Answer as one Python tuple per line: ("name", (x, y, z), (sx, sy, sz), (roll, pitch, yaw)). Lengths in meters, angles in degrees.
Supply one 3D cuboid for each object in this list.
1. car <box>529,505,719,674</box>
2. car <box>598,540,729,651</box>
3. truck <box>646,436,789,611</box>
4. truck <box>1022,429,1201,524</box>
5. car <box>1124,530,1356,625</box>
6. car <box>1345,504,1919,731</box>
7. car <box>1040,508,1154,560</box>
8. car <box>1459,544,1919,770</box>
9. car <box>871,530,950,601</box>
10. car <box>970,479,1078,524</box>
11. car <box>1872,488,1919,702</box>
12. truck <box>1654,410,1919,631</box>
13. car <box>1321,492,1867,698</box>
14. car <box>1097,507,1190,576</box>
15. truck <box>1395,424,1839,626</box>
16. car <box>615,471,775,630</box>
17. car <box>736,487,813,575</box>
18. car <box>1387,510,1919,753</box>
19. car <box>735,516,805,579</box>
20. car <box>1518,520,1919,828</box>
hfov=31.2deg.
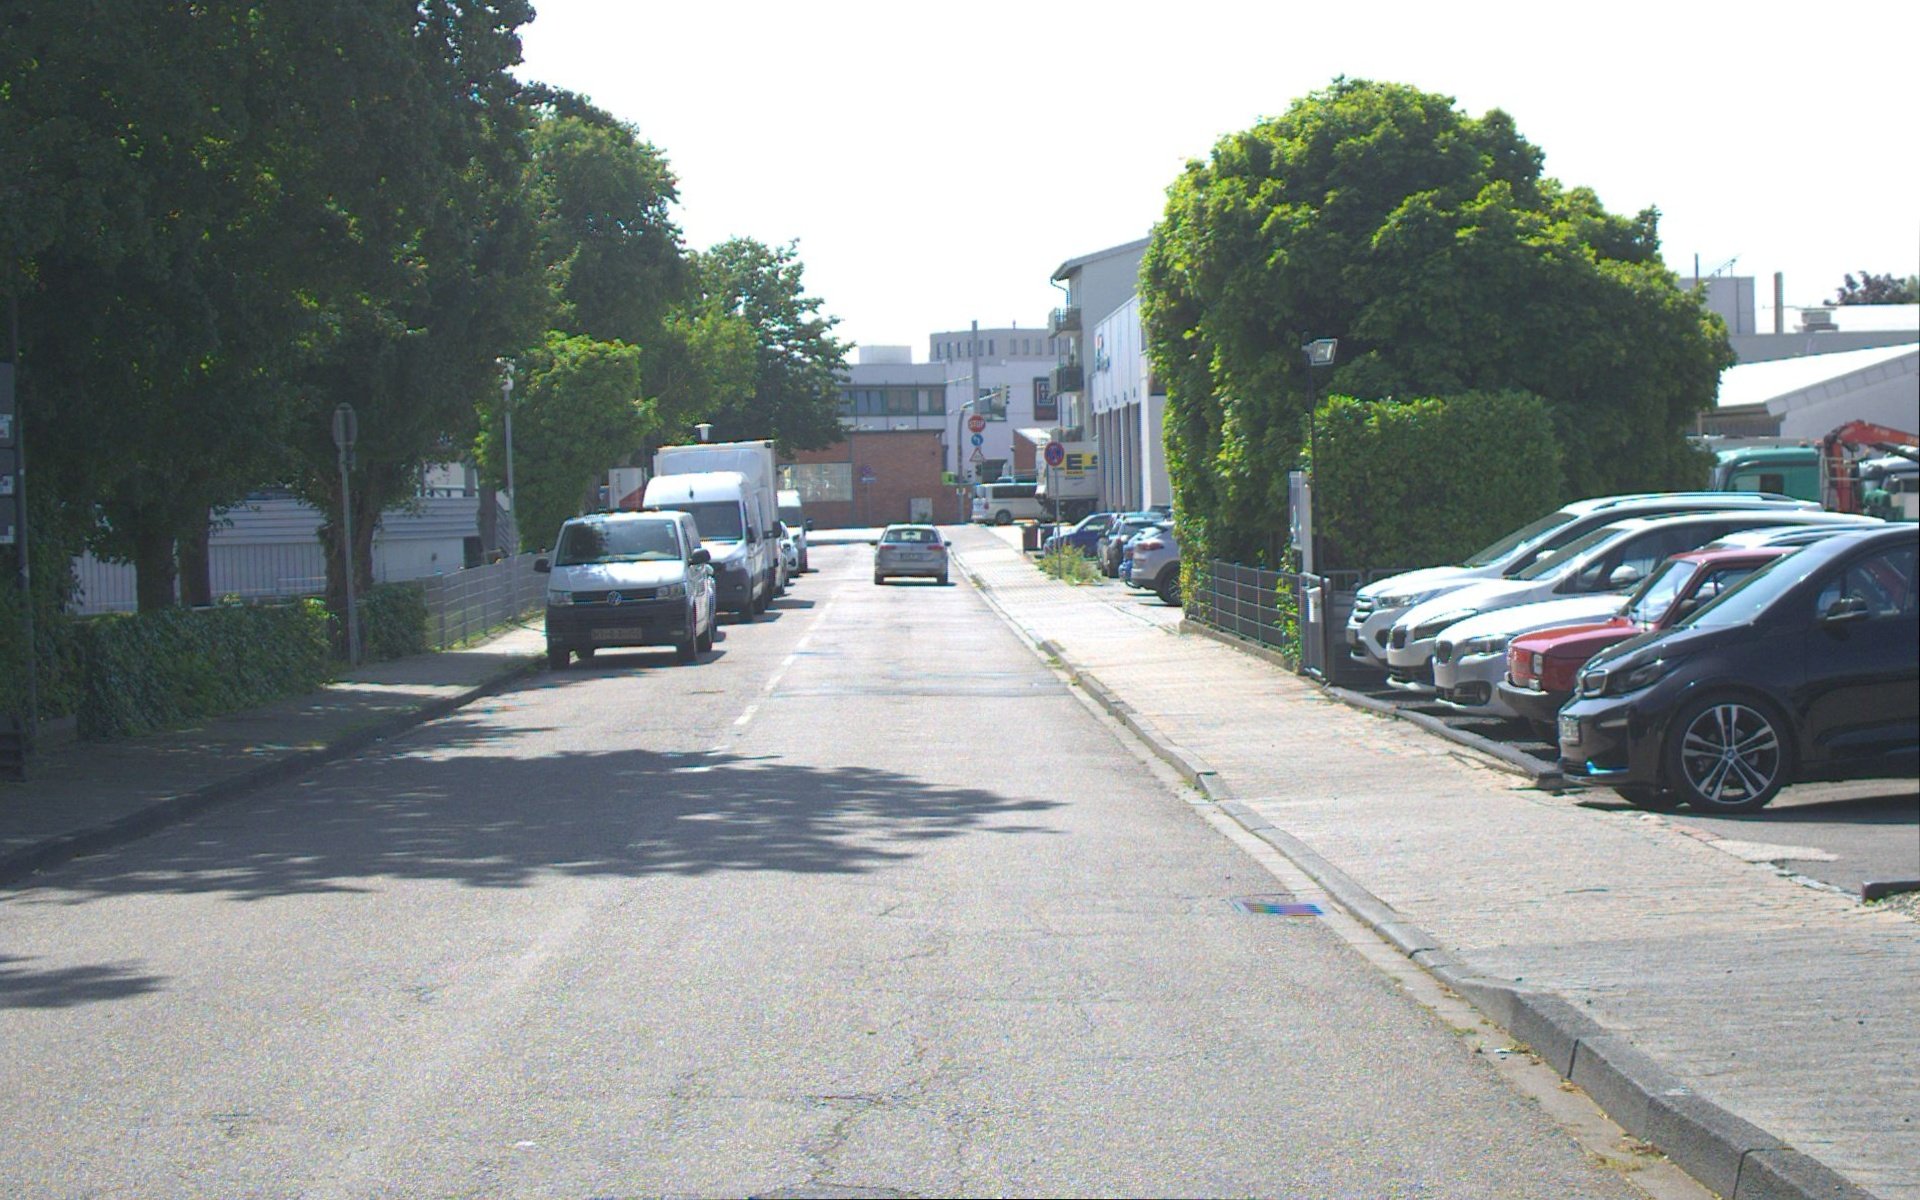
("car", (-4.379, -0.185, 45.558), (1.971, 2.007, 5.057), (-3, 1, -1))
("car", (-4.506, -0.102, 52.735), (1.714, 1.538, 4.401), (-3, 1, -2))
("truck", (-5.025, -1.575, 71.417), (2.685, 3.354, 7.131), (-2, 1, -4))
("truck", (6.745, -5.499, 153.403), (7.357, 3.632, 2.768), (-5, 2, -6))
("car", (5.320, -0.441, 65.597), (4.200, 1.676, 1.767), (2, 1, -1))
("car", (5.546, 0.120, 28.016), (4.402, 1.522, 1.897), (-4, 1, -6))
("car", (4.063, -1.967, 102.250), (3.253, 1.394, 1.673), (-2, 2, 0))
("car", (5.251, 0.345, 22.852), (3.549, 1.330, 1.559), (-2, 1, -2))
("car", (-1.240, -0.864, 85.104), (1.890, 1.679, 3.958), (-1, 1, -1))
("car", (3.014, -4.646, 161.806), (4.653, 1.951, 1.917), (-2, 2, -19))
("car", (9.334, -0.045, 29.342), (1.993, 1.853, 3.789), (0, 0, -2))
("truck", (16.282, -1.407, 58.681), (8.276, 3.598, 2.953), (-1, 1, 2))
("car", (5.555, -0.066, 30.451), (4.402, 1.648, 1.844), (-2, 1, -3))
("car", (4.492, -1.467, 84.864), (1.858, 1.562, 4.952), (-2, 2, -2))
("truck", (11.943, -1.379, 62.919), (7.518, 3.411, 2.527), (2, 1, 0))
("car", (-4.664, -0.901, 61.535), (2.168, 2.587, 6.920), (-3, 1, 0))
("car", (-5.411, -2.036, 100.419), (2.005, 2.358, 5.230), (-4, 2, -3))
("car", (5.569, 0.185, 25.342), (4.402, 1.492, 1.897), (-4, 1, -6))
("car", (-5.283, -1.472, 95.257), (1.704, 1.618, 3.974), (-3, 2, -6))
("car", (5.309, 0.360, 19.838), (3.802, 1.618, 1.760), (-2, 1, -2))
